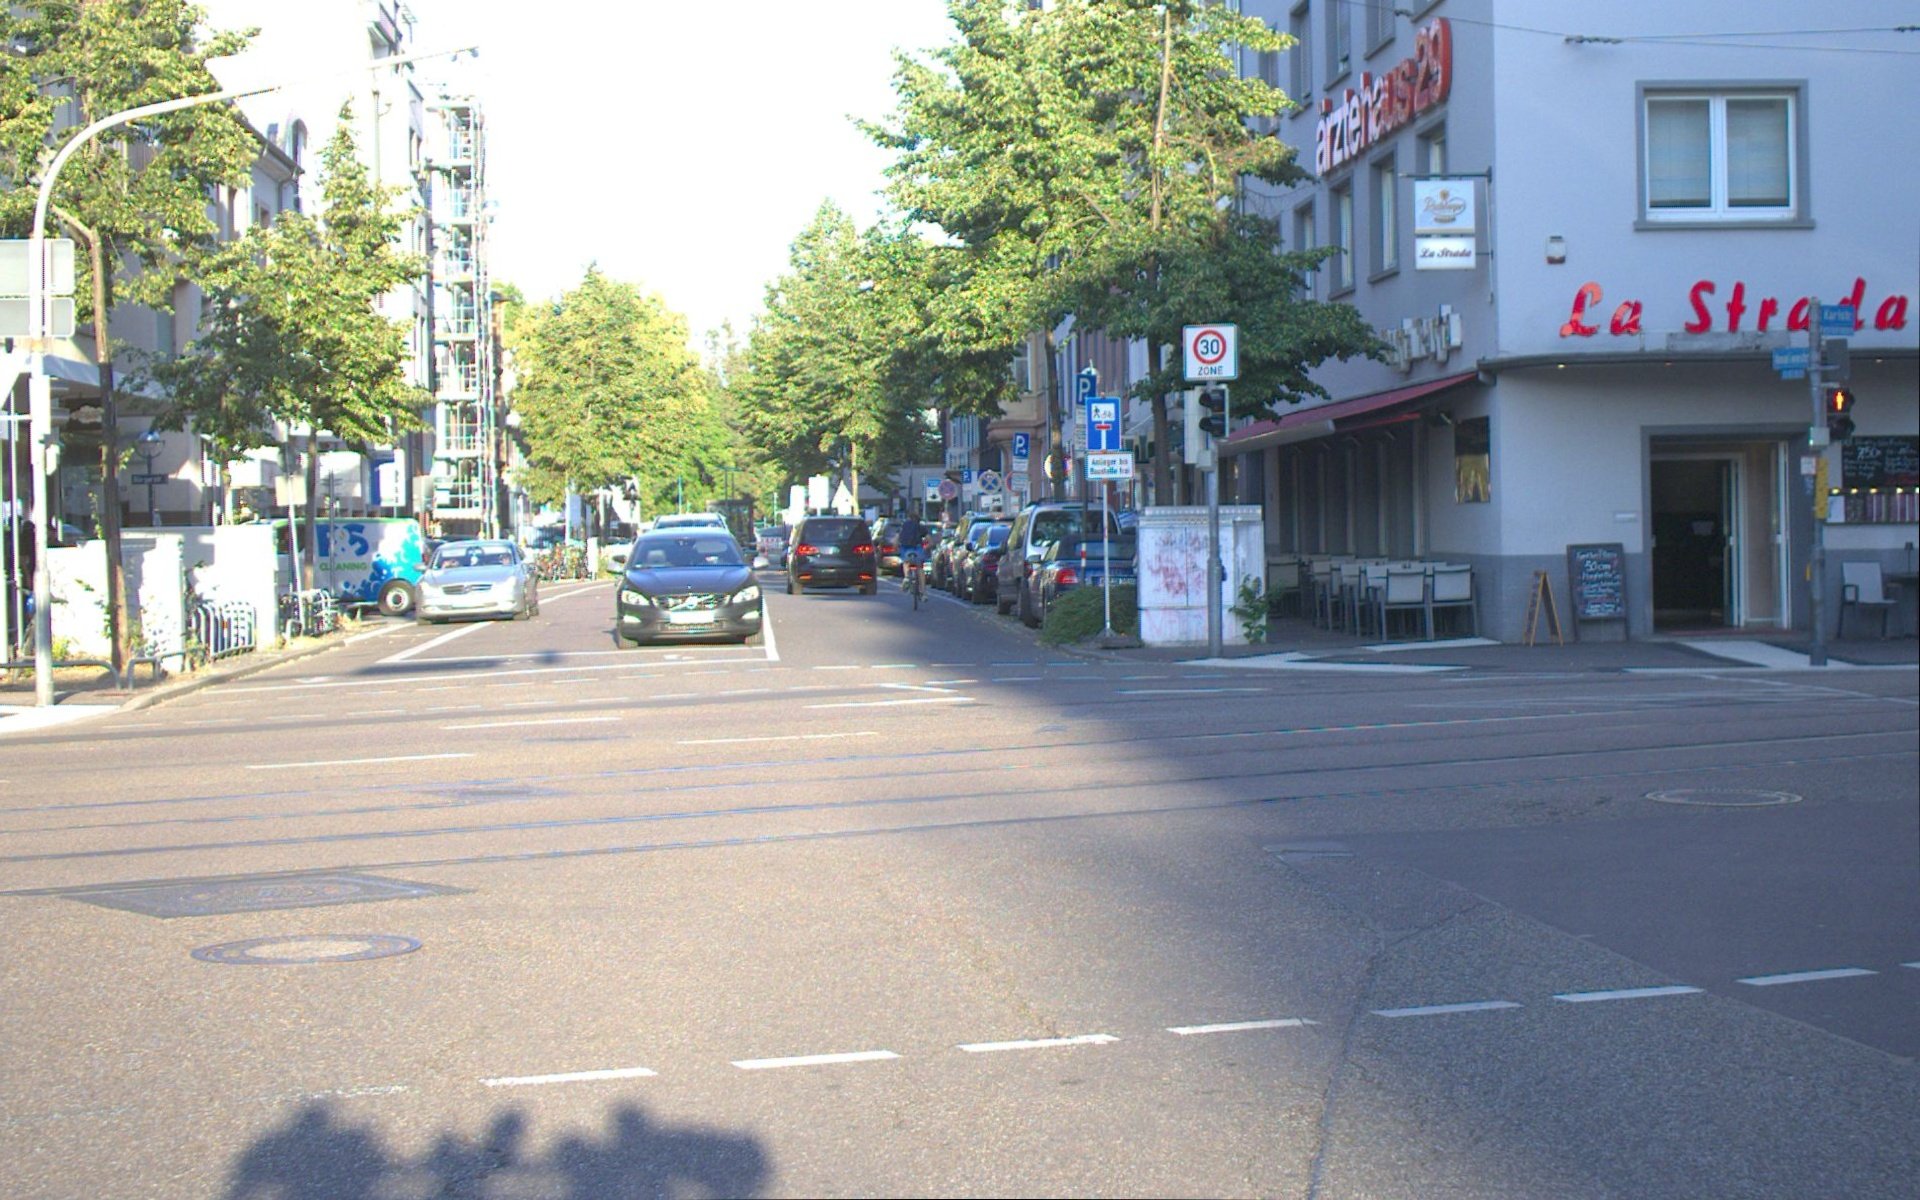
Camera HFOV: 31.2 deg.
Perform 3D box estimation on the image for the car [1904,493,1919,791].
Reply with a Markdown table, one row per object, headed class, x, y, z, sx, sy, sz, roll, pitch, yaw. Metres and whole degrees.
| class | x | y | z | sx | sy | sz | roll | pitch | yaw |
| --- | --- | --- | --- | --- | --- | --- | --- | --- | --- |
| car | 6.740 | 0.166 | 17.414 | 1.998 | 1.415 | 4.499 | 2 | 3 | 41 |
